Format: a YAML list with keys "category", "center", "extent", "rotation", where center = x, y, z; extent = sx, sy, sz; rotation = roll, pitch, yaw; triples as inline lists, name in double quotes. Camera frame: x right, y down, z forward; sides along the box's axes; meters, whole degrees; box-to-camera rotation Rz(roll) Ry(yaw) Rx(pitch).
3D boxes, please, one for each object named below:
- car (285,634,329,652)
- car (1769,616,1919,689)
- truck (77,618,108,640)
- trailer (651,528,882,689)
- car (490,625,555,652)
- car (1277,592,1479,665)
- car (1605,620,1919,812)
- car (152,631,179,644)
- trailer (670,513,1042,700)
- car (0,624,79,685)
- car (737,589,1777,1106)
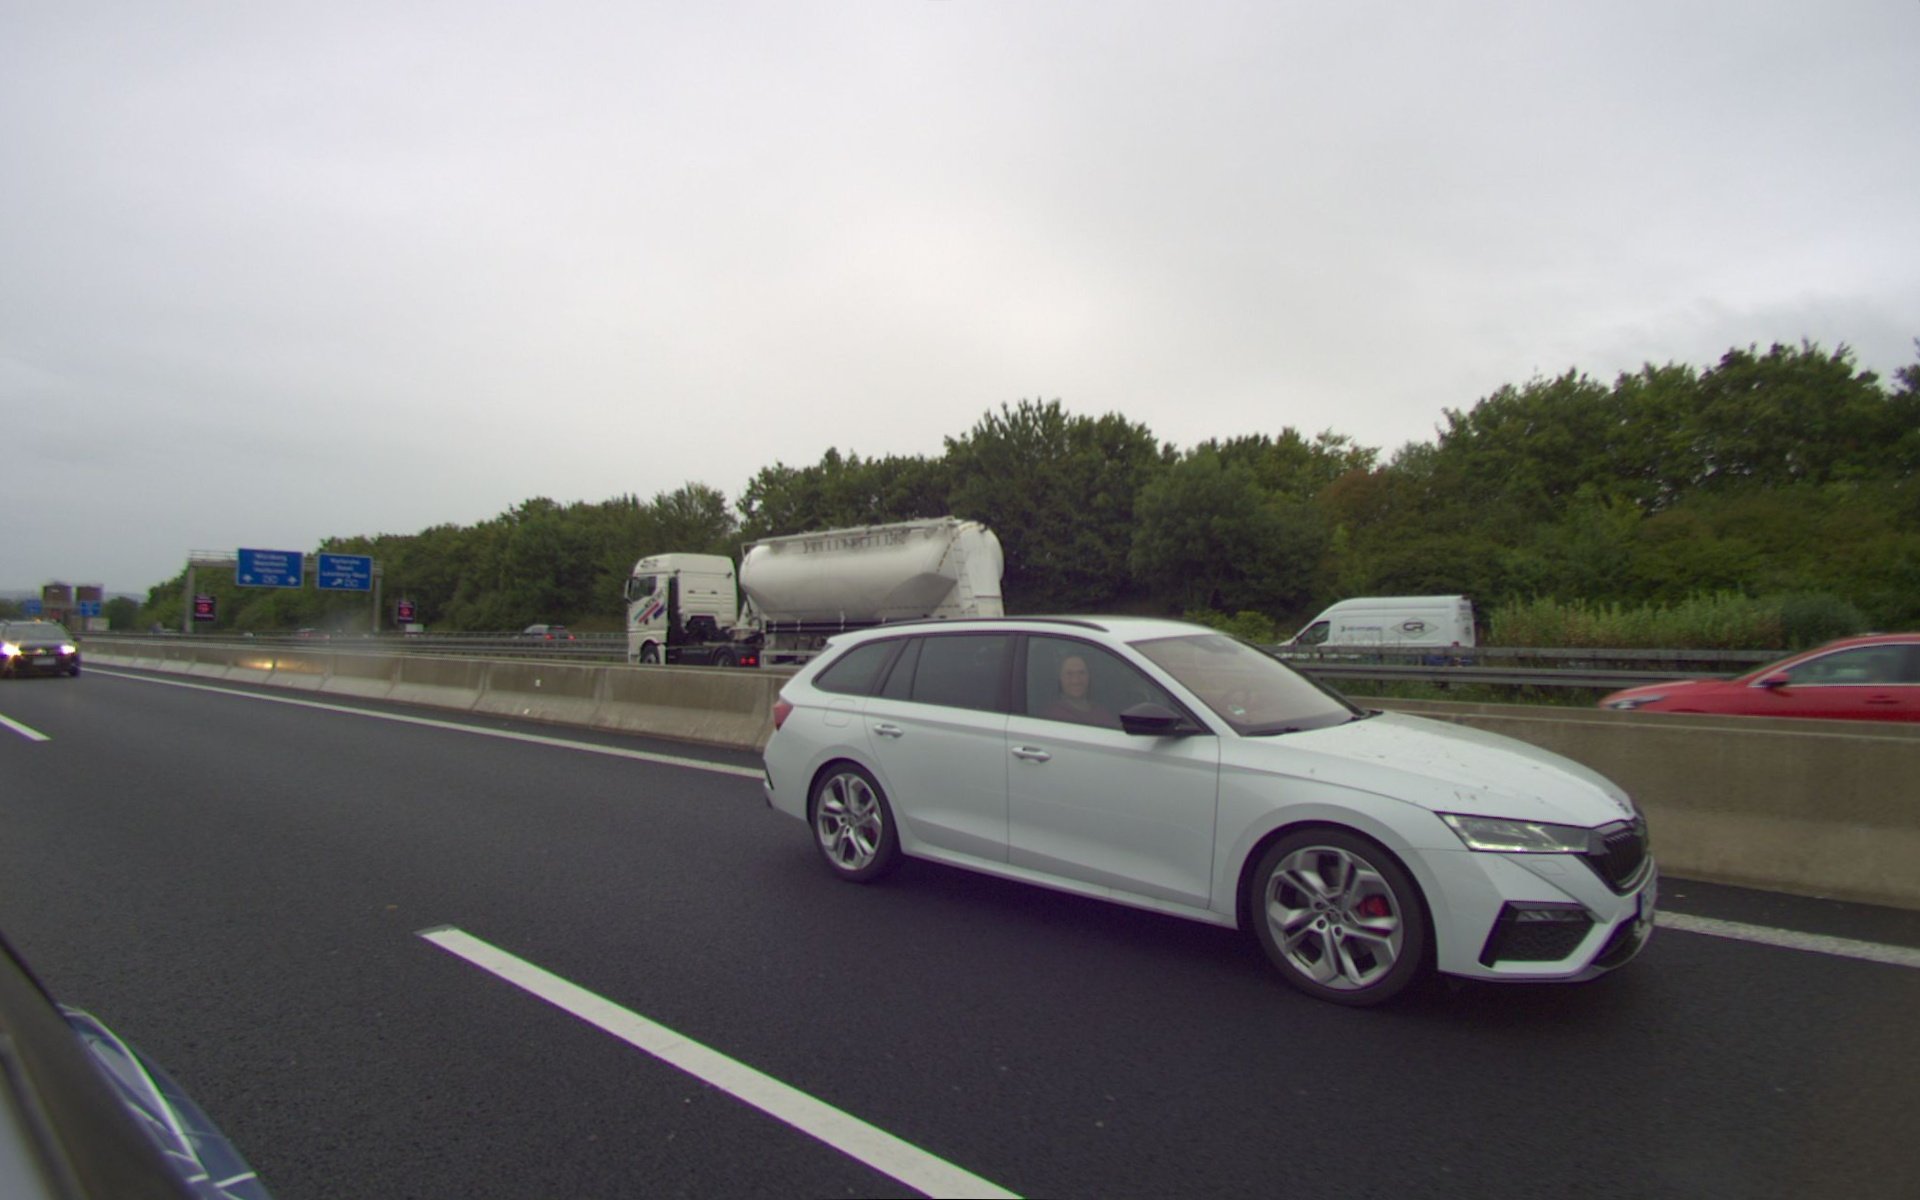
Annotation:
- category: "car"
  center: [-55.371, 3.626, 85.832]
  extent: [4.562, 1.467, 1.801]
  rotation: [-1, -1, 39]
- category: "car"
  center: [23.273, 1.294, 25.884]
  extent: [3.996, 1.783, 1.687]
  rotation: [-1, -1, 39]
- category: "truck"
  center: [-163.801, 5.427, 191.025]
  extent: [9.630, 3.908, 3.042]
  rotation: [-1, -1, 41]
- category: "trailer"
  center: [-5.243, 0.250, 26.720]
  extent: [6.490, 3.744, 2.608]
  rotation: [-1, -1, 42]
- category: "car"
  center: [-25.702, 2.241, 59.418]
  extent: [4.254, 1.467, 1.800]
  rotation: [-1, -1, 40]
- category: "car"
  center: [12.437, 0.834, 30.380]
  extent: [5.297, 2.029, 1.854]
  rotation: [-1, -1, 41]
- category: "car"
  center: [8.517, 0.975, 9.096]
  extent: [4.355, 1.592, 1.789]
  rotation: [-1, -1, 42]
- category: "car"
  center: [-91.511, 4.287, 116.506]
  extent: [4.269, 1.467, 1.799]
  rotation: [-1, -1, 43]
- category: "trailer"
  center: [-3.054, 0.216, 24.990]
  extent: [10.808, 3.765, 2.608]
  rotation: [-1, -1, 42]
- category: "car"
  center: [-25.542, 1.423, 27.578]
  extent: [4.565, 1.500, 1.703]
  rotation: [-1, -1, 41]
- category: "car"
  center: [1.047, 0.743, 5.147]
  extent: [4.775, 1.467, 1.799]
  rotation: [-1, -1, 41]
